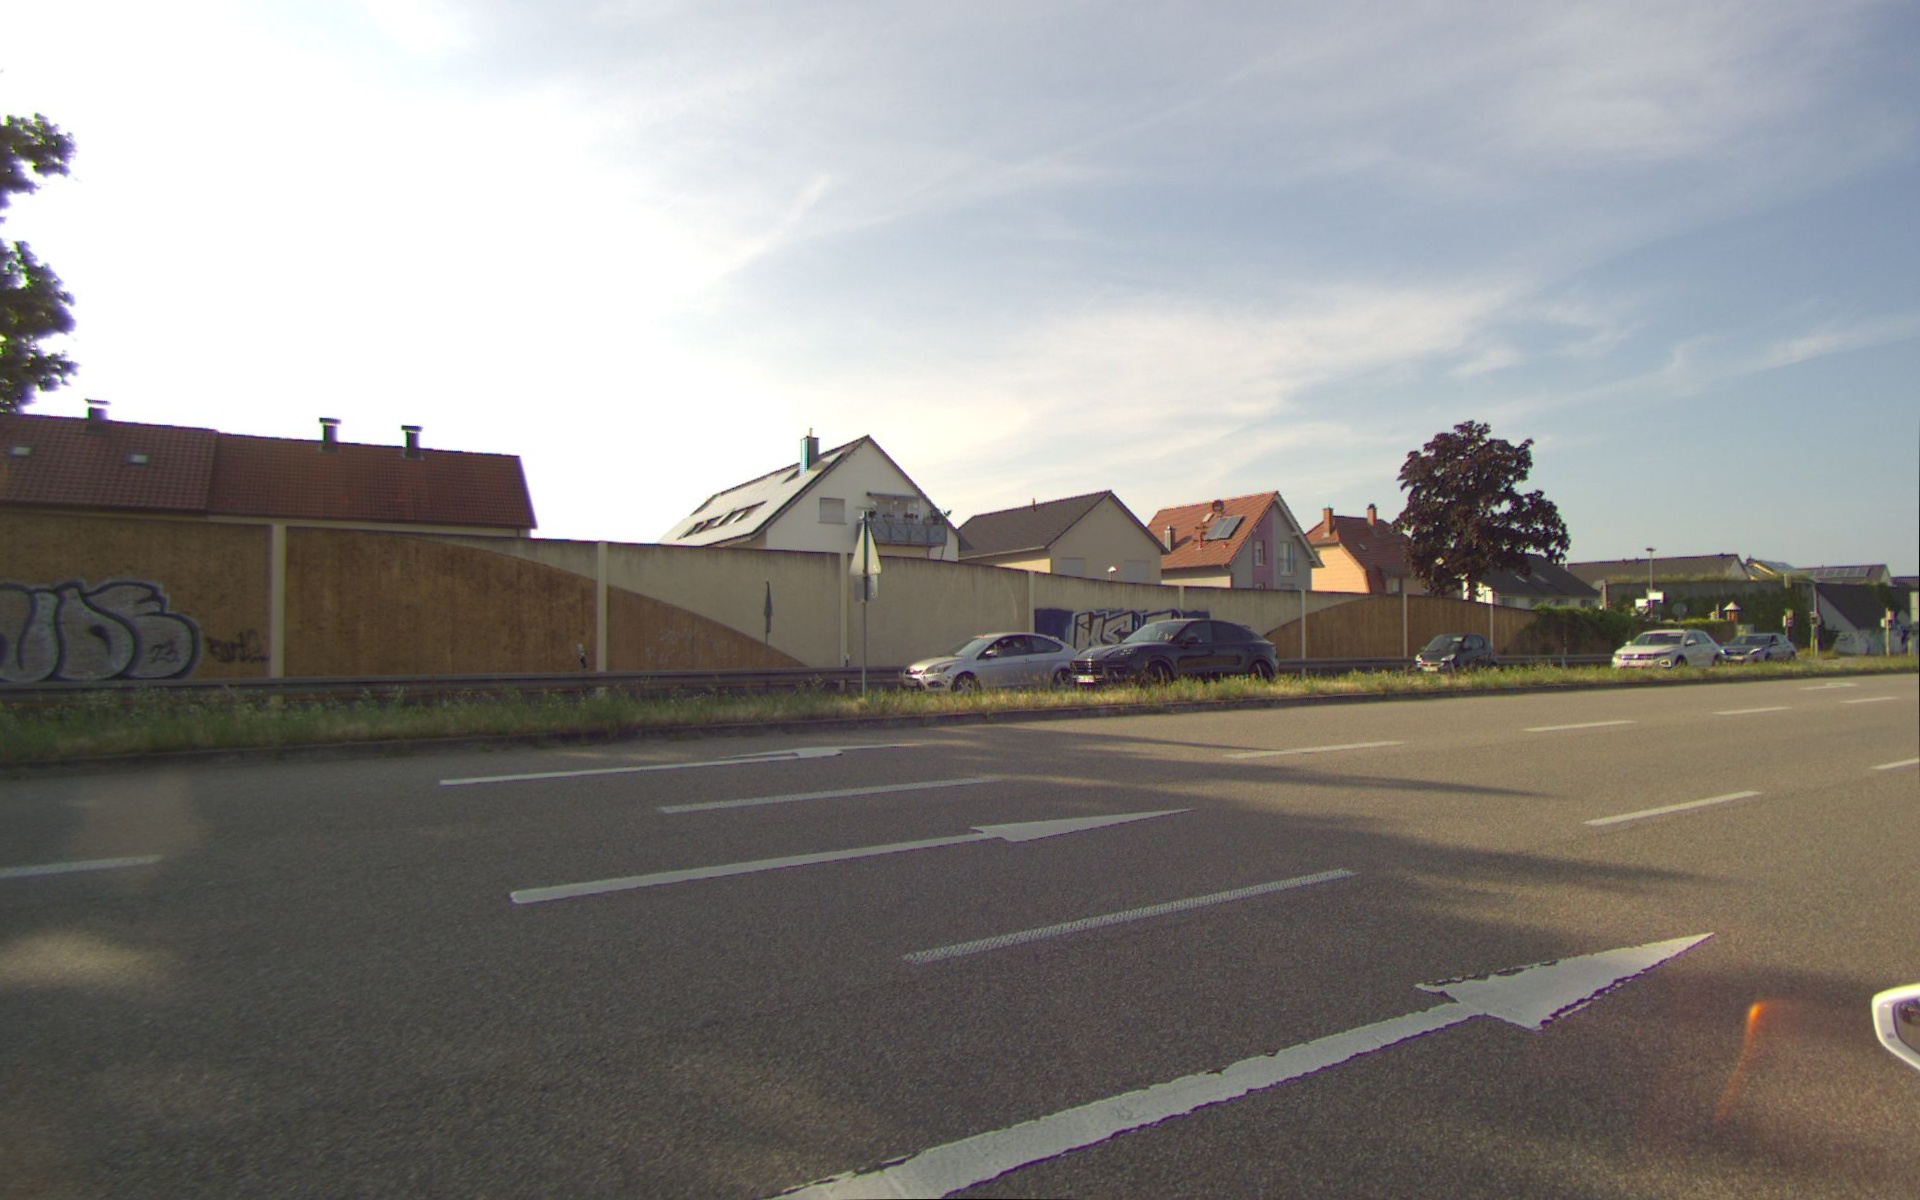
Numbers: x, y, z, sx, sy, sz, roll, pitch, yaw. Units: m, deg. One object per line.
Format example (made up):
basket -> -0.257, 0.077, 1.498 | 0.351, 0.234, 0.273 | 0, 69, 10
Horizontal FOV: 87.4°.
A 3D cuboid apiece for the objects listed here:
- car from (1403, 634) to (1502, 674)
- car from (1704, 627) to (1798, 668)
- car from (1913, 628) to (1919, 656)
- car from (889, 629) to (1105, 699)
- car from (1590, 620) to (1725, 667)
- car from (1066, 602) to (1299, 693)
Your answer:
car -> 15.800, 1.704, 32.208 | 3.027, 1.179, 1.466 | 1, 0, -32
car -> 35.066, 2.058, 44.512 | 4.541, 1.687, 1.965 | 1, 0, -33
car -> 59.140, 2.530, 60.263 | 4.605, 1.650, 1.713 | 1, 0, -31
car -> 0.860, 1.334, 22.100 | 4.553, 1.340, 1.770 | 1, 0, -32
car -> 21.880, 1.324, 31.472 | 4.662, 1.339, 1.862 | 1, 0, -33
car -> 4.599, 0.908, 20.469 | 4.869, 1.647, 1.721 | 1, 0, -33
